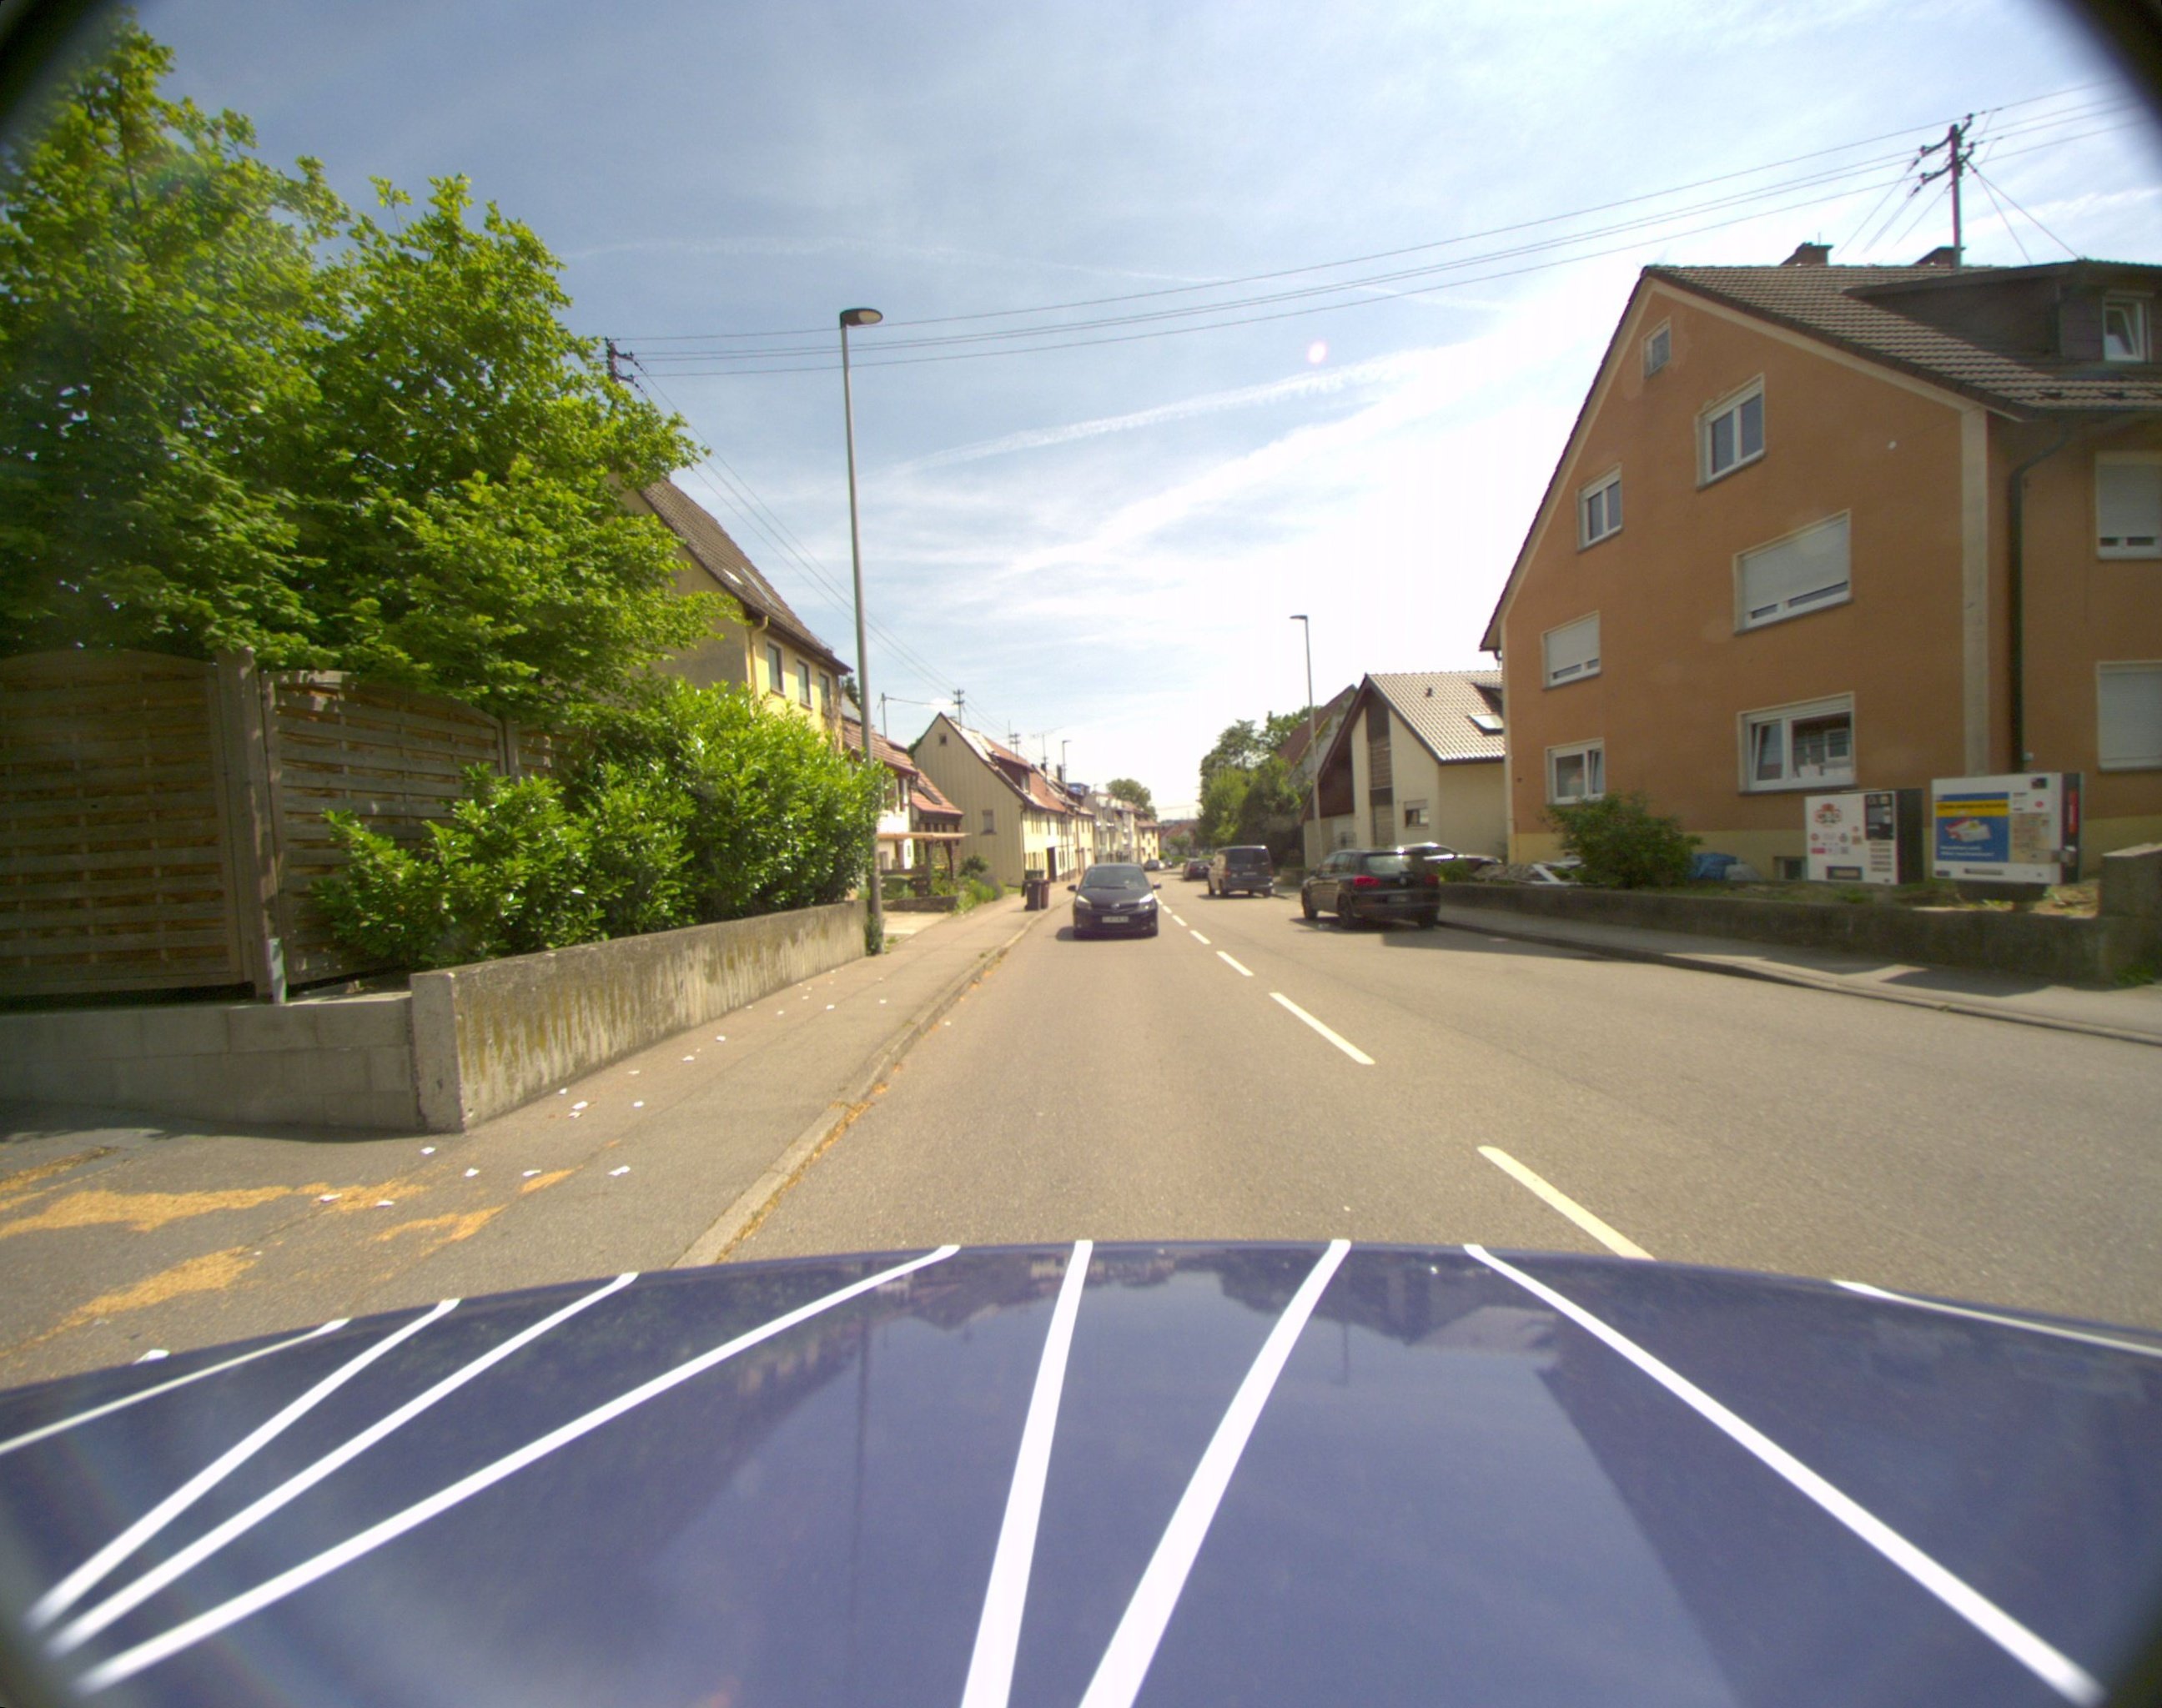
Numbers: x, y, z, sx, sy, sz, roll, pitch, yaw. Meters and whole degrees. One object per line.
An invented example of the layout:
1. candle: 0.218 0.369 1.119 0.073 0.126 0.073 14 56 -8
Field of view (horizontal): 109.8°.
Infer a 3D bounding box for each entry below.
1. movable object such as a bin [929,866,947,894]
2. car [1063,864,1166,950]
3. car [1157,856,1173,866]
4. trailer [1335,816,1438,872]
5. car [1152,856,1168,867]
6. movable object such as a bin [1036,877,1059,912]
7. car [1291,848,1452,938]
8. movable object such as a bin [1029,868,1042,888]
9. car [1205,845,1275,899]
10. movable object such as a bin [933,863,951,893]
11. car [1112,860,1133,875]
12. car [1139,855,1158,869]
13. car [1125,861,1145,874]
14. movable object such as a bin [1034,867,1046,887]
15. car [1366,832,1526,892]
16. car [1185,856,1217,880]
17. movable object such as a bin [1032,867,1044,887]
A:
1. movable object such as a bin: -5.623 1.023 29.969 0.536 1.051 0.549 4 1 0
2. car: 0.843 1.004 15.977 1.724 1.448 4.432 -2 0 8
3. car: 13.265 1.148 120.043 1.791 1.412 4.363 -2 0 15
4. trailer: 14.491 -0.479 36.195 3.840 2.002 2.000 -9 0 1
5. car: 11.840 1.079 113.434 1.792 1.447 4.721 -2 0 12
6. movable object such as a bin: -1.026 1.224 23.210 0.494 1.027 0.549 2 1 26
7. car: 6.045 0.744 16.395 1.773 1.626 4.287 -2 0 -1
8. movable object such as a bin: -2.347 1.223 39.289 0.548 1.027 0.552 0 0 5
9. car: 6.209 0.649 30.254 1.895 1.926 4.986 -1 0 2
10. movable object such as a bin: -5.597 0.979 30.655 0.536 1.151 0.549 4 1 0
11. car: 4.431 1.419 80.874 1.797 1.394 4.415 -1 0 9
12. car: 9.286 1.080 103.818 1.957 1.706 4.721 -2 0 12
13. car: 6.523 1.633 91.613 1.800 1.416 4.293 -1 0 11
14. movable object such as a bin: -2.210 1.226 40.824 0.548 1.027 0.552 0 0 5
15. car: 11.805 0.262 24.739 4.240 1.397 1.821 -6 0 -3
16. car: 8.111 0.922 51.871 1.823 1.464 4.778 -2 -1 5
17. movable object such as a bin: -2.280 1.224 40.223 0.548 1.027 0.552 0 0 5
